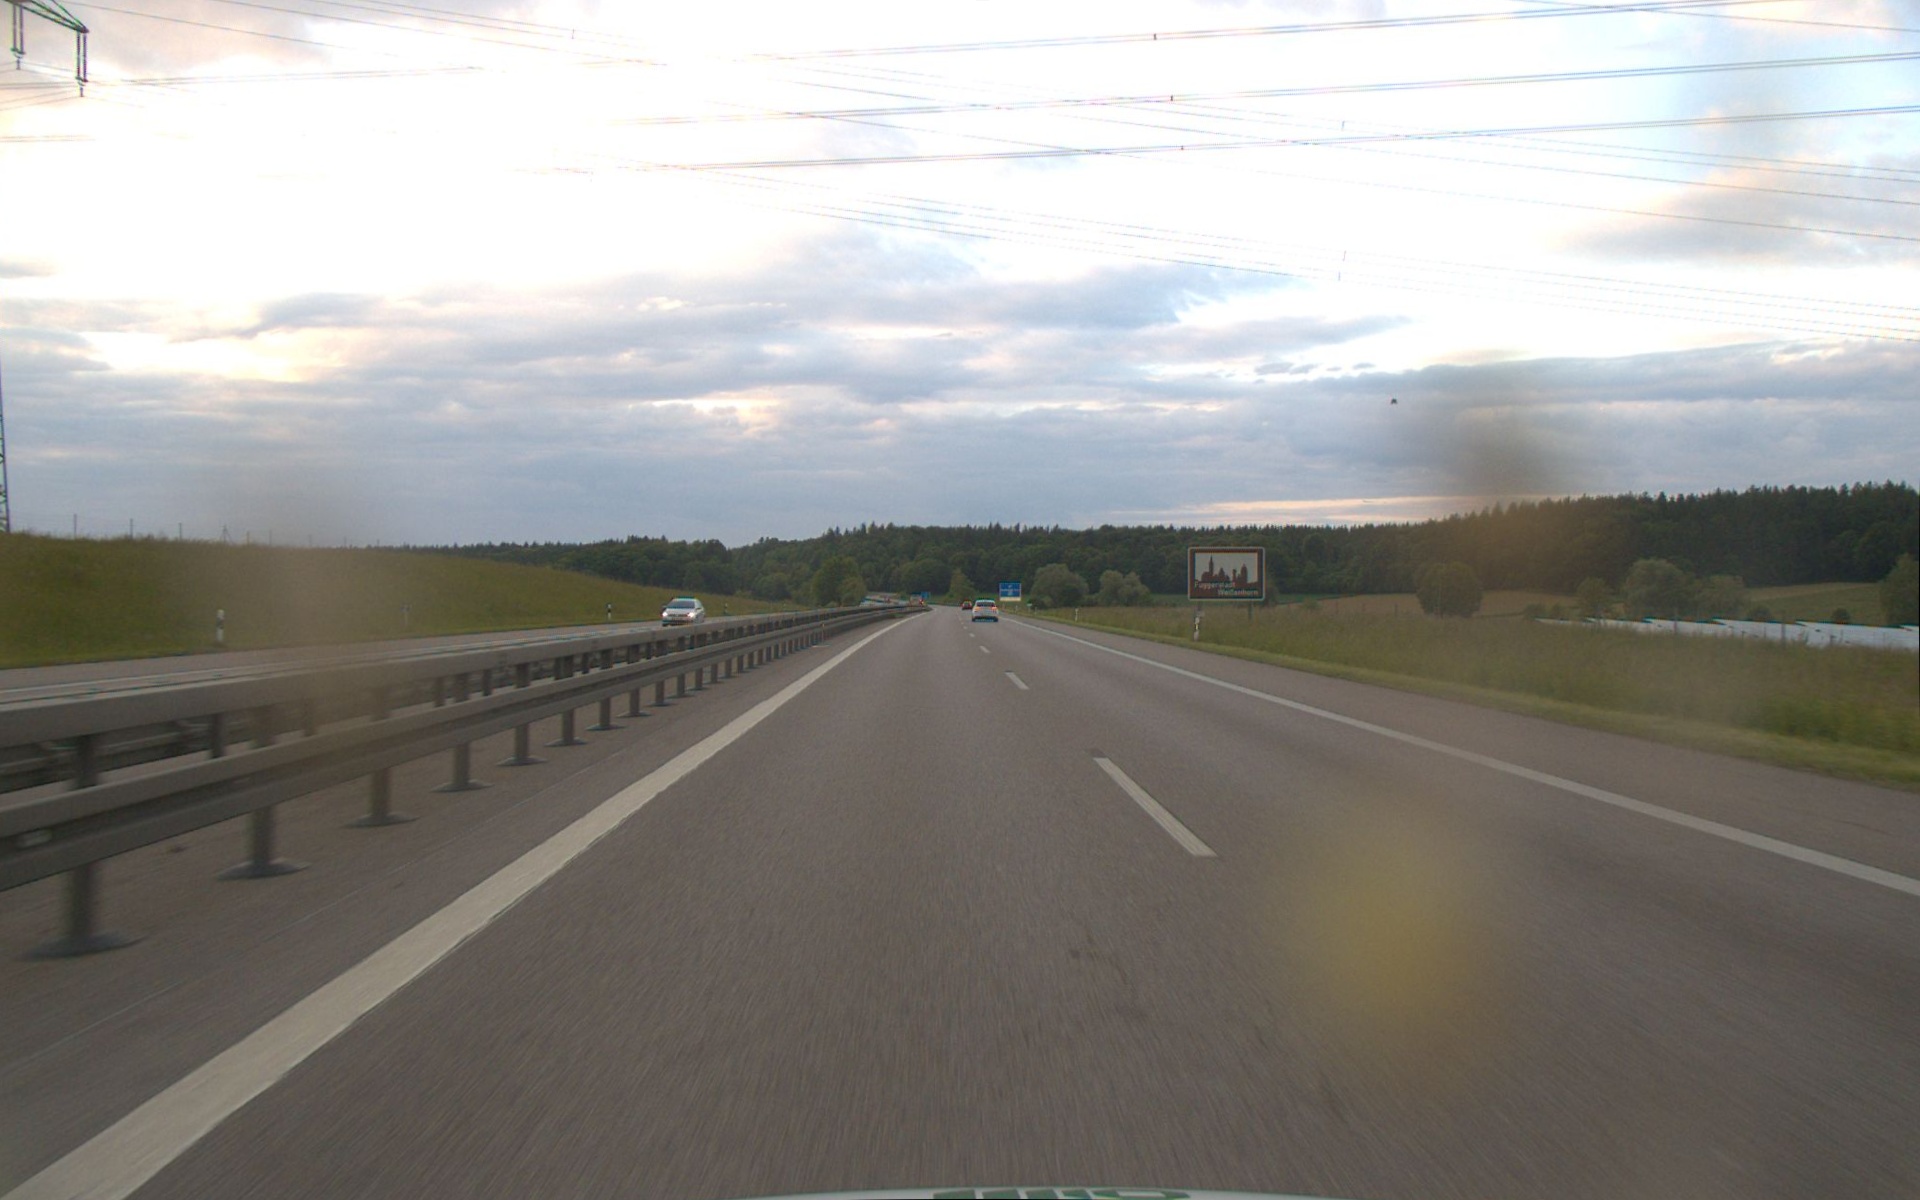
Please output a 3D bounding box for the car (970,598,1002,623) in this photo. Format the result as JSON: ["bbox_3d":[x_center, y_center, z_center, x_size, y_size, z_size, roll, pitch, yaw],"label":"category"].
[{"bbox_3d":[1.776,0.707,113.077,1.912,1.558,4.078,2,0,-2],"label":"car"}]

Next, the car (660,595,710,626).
[{"bbox_3d":[-14.450,0.544,87.135,1.729,1.508,5.333,2,0,0],"label":"car"}]
